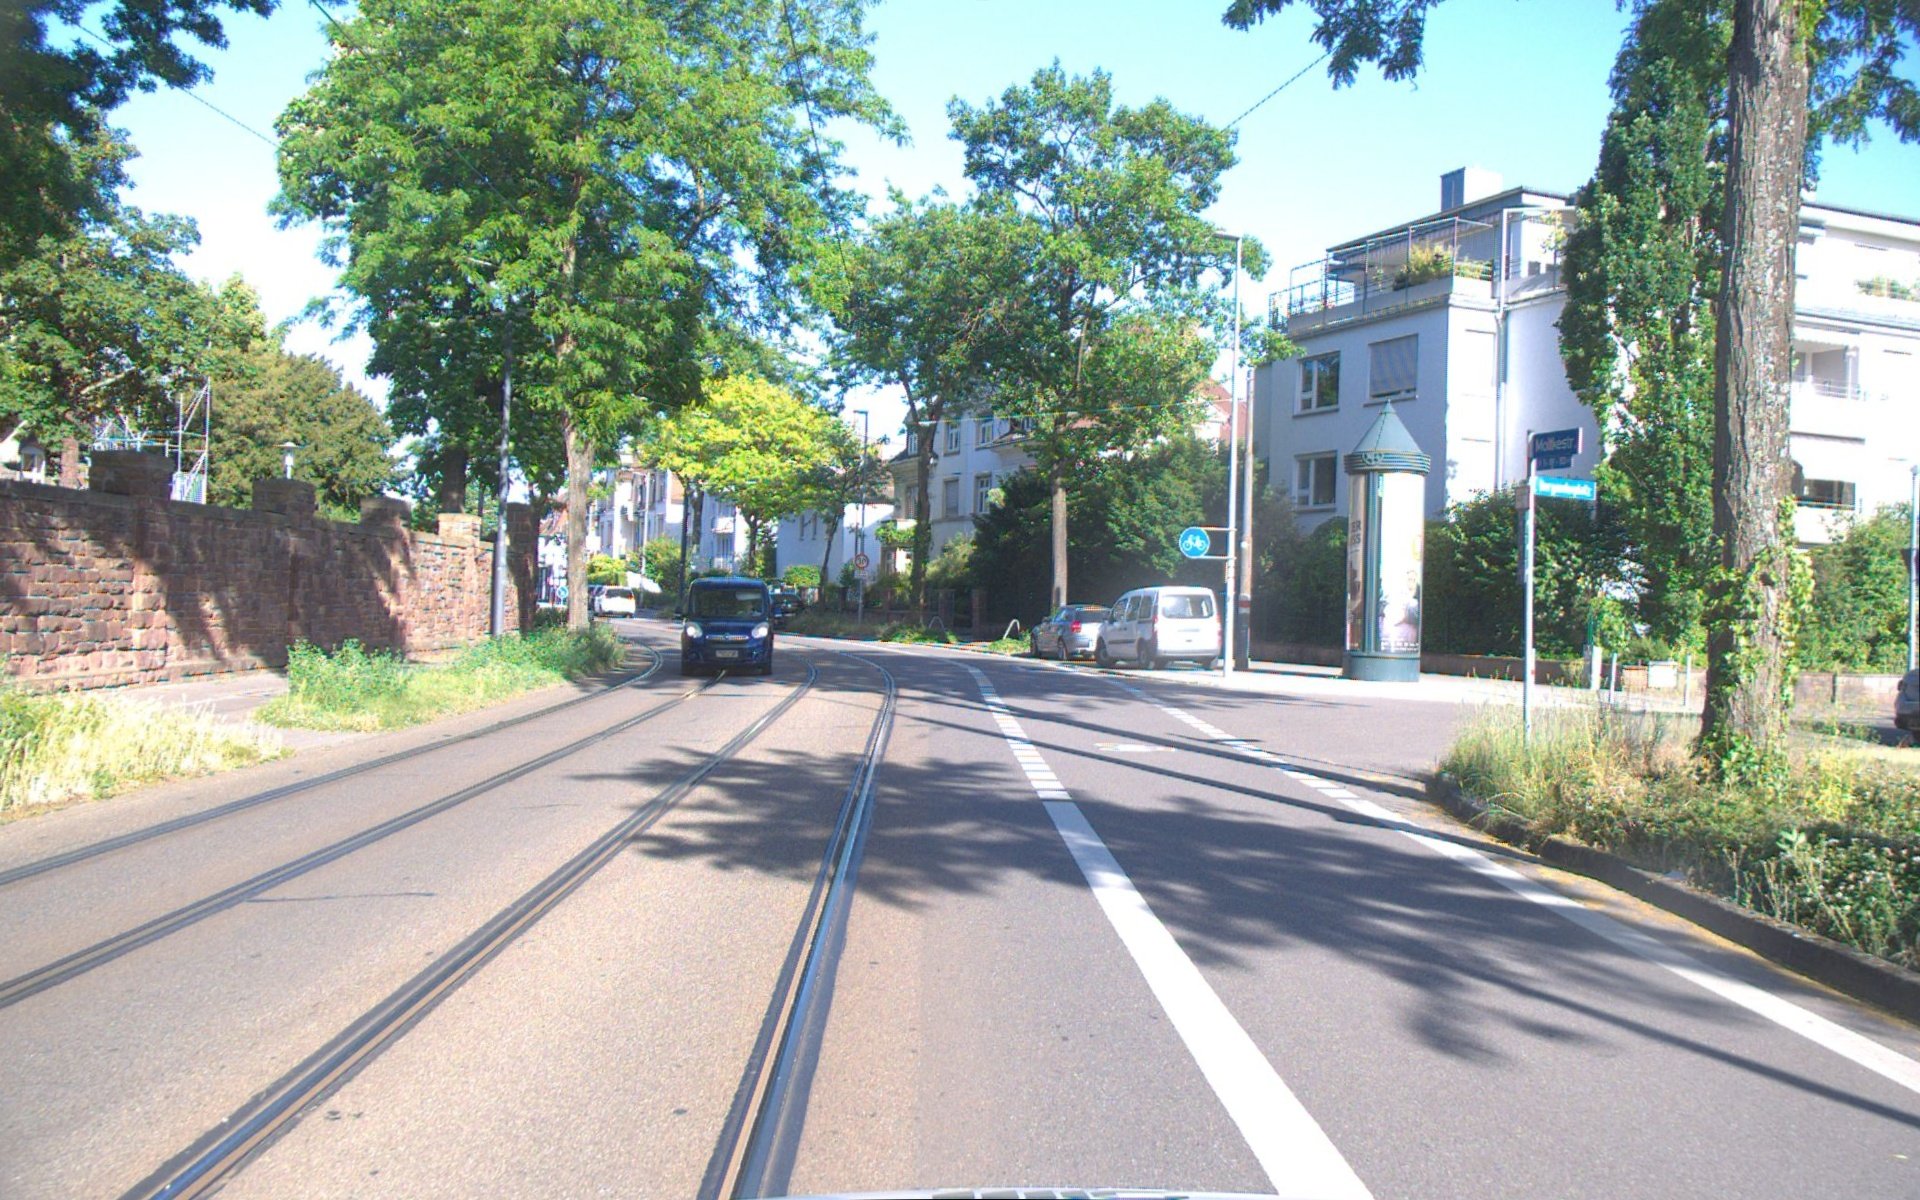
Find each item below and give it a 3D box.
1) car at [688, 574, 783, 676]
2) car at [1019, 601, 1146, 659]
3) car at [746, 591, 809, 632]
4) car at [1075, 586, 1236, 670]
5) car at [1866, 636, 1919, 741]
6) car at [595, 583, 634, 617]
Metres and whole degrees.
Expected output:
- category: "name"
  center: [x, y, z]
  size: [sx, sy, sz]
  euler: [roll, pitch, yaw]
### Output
- category: "car"
  center: [-4.343, 0.452, 32.427]
  size: [1.601, 1.823, 4.333]
  euler: [1, 0, -5]
- category: "car"
  center: [3.189, 0.780, 44.022]
  size: [1.962, 1.448, 4.312]
  euler: [1, -1, -17]
- category: "car"
  center: [-8.388, 0.502, 75.724]
  size: [1.778, 1.723, 4.701]
  euler: [-2, 1, -20]
- category: "car"
  center: [4.419, 0.594, 38.161]
  size: [1.990, 1.777, 4.730]
  euler: [1, 0, -16]
- category: "car"
  center: [15.105, 1.271, 22.997]
  size: [4.442, 1.393, 1.958]
  euler: [2, 0, -20]
- category: "car"
  center: [-18.512, 0.006, 88.574]
  size: [1.860, 1.639, 4.213]
  euler: [2, -2, -14]
